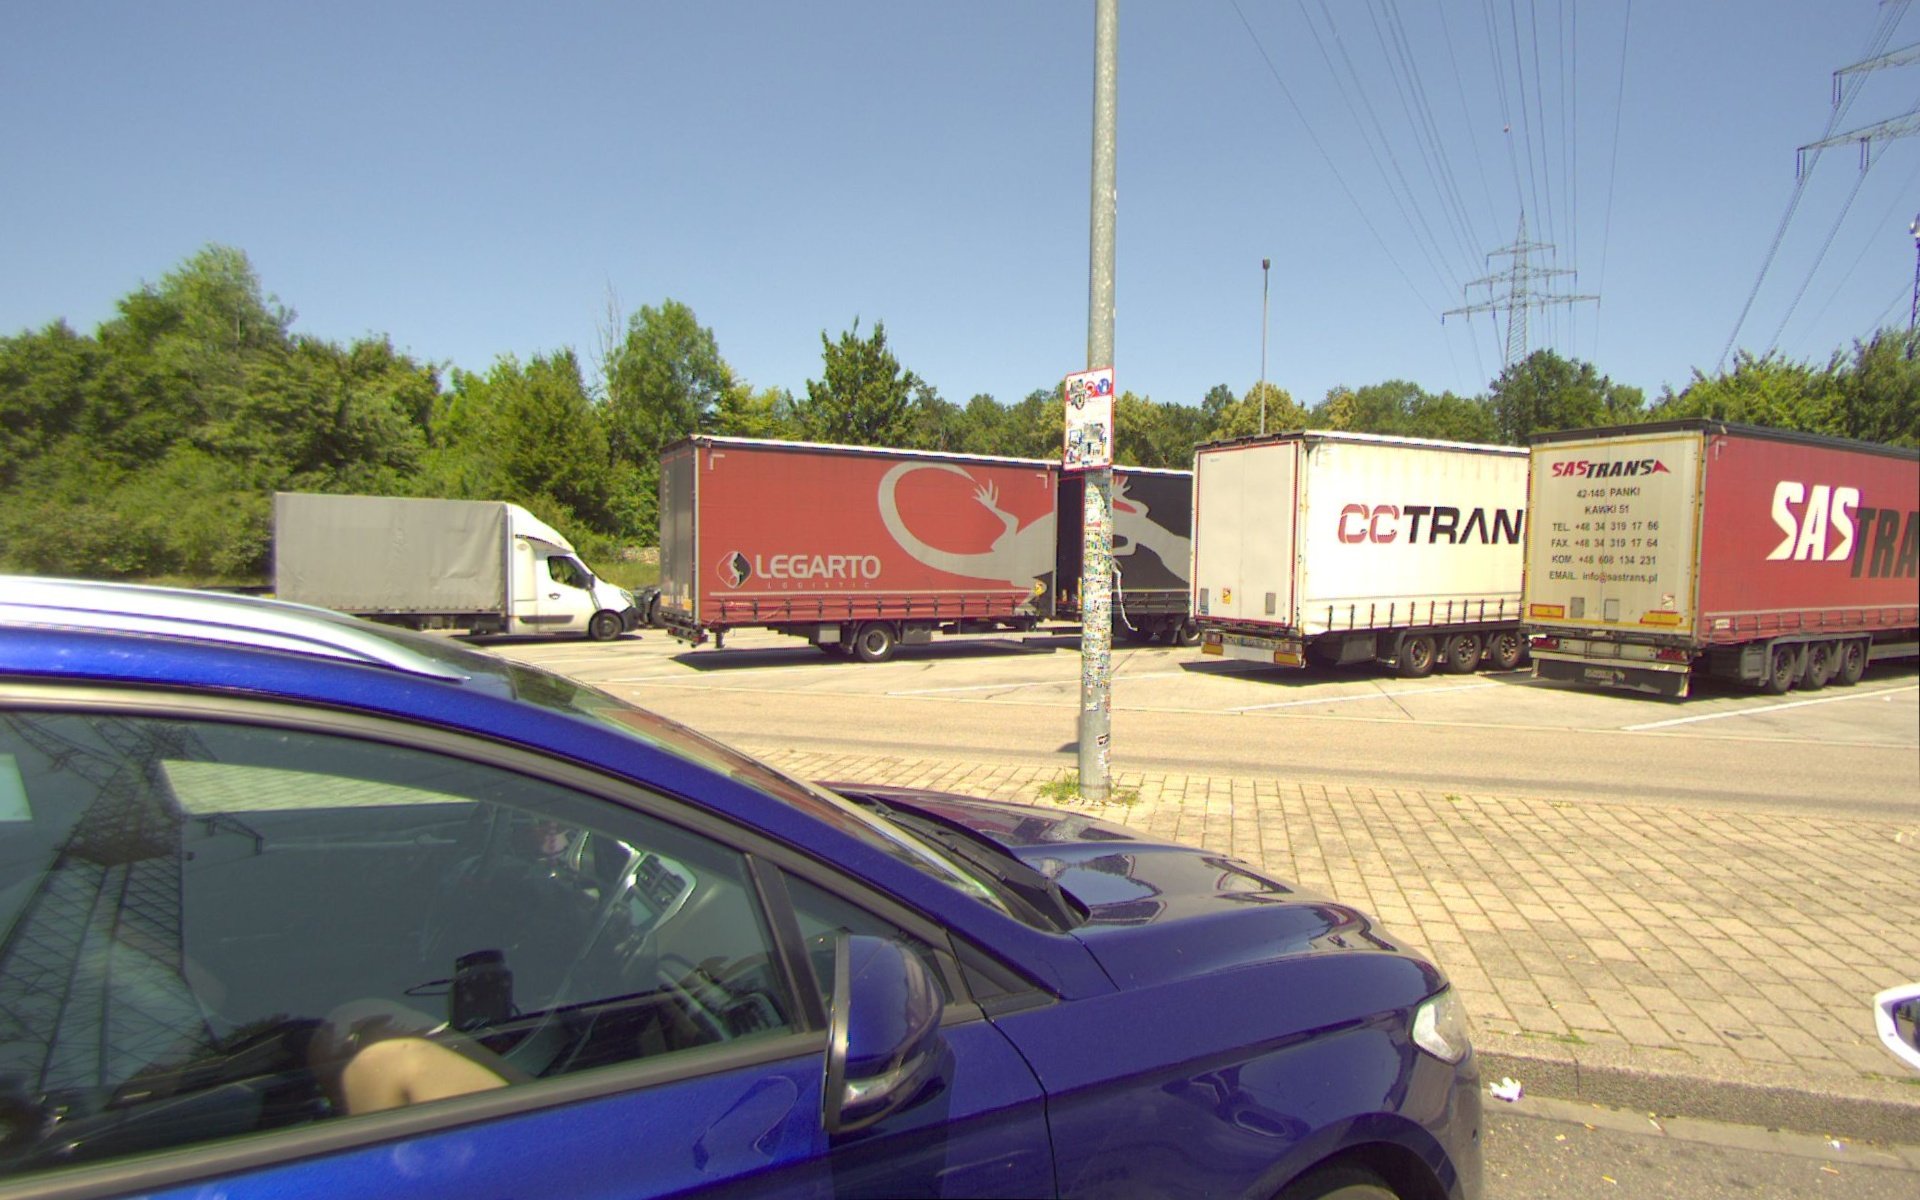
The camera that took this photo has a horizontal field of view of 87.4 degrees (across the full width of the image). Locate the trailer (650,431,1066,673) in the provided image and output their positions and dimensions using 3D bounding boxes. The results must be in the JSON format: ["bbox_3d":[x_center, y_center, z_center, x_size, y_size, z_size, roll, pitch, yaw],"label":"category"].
[{"bbox_3d":[-1.887,-0.906,20.328,8.007,4.127,2.693,-1,3,-30],"label":"trailer"}]

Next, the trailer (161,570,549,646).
[{"bbox_3d":[-14.755,0.102,25.231,8.007,1.648,2.199,-1,3,-30],"label":"trailer"}]

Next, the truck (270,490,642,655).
[{"bbox_3d":[-11.244,-0.625,22.992,7.187,3.289,2.694,-1,3,-29],"label":"truck"}]

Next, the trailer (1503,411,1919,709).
[{"bbox_3d":[15.460,-0.678,18.607,13.599,4.127,2.807,-1,3,-31],"label":"trailer"}]

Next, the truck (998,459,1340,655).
[{"bbox_3d":[5.266,-1.000,24.536,8.586,4.127,2.693,-1,3,-30],"label":"truck"}]

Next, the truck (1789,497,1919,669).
[{"bbox_3d":[21.253,-0.405,22.044,5.903,3.409,2.798,-1,3,-30],"label":"truck"}]

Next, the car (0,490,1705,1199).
[{"bbox_3d":[-0.979,0.649,1.449,4.522,1.491,1.743,0,2,-32],"label":"car"}]

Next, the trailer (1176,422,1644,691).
[{"bbox_3d":[8.967,-0.772,19.341,10.264,4.158,2.693,-1,3,-30],"label":"trailer"}]

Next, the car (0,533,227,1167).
[{"bbox_3d":[-4.420,0.576,2.086,4.522,1.526,1.743,0,2,-32],"label":"car"}]
